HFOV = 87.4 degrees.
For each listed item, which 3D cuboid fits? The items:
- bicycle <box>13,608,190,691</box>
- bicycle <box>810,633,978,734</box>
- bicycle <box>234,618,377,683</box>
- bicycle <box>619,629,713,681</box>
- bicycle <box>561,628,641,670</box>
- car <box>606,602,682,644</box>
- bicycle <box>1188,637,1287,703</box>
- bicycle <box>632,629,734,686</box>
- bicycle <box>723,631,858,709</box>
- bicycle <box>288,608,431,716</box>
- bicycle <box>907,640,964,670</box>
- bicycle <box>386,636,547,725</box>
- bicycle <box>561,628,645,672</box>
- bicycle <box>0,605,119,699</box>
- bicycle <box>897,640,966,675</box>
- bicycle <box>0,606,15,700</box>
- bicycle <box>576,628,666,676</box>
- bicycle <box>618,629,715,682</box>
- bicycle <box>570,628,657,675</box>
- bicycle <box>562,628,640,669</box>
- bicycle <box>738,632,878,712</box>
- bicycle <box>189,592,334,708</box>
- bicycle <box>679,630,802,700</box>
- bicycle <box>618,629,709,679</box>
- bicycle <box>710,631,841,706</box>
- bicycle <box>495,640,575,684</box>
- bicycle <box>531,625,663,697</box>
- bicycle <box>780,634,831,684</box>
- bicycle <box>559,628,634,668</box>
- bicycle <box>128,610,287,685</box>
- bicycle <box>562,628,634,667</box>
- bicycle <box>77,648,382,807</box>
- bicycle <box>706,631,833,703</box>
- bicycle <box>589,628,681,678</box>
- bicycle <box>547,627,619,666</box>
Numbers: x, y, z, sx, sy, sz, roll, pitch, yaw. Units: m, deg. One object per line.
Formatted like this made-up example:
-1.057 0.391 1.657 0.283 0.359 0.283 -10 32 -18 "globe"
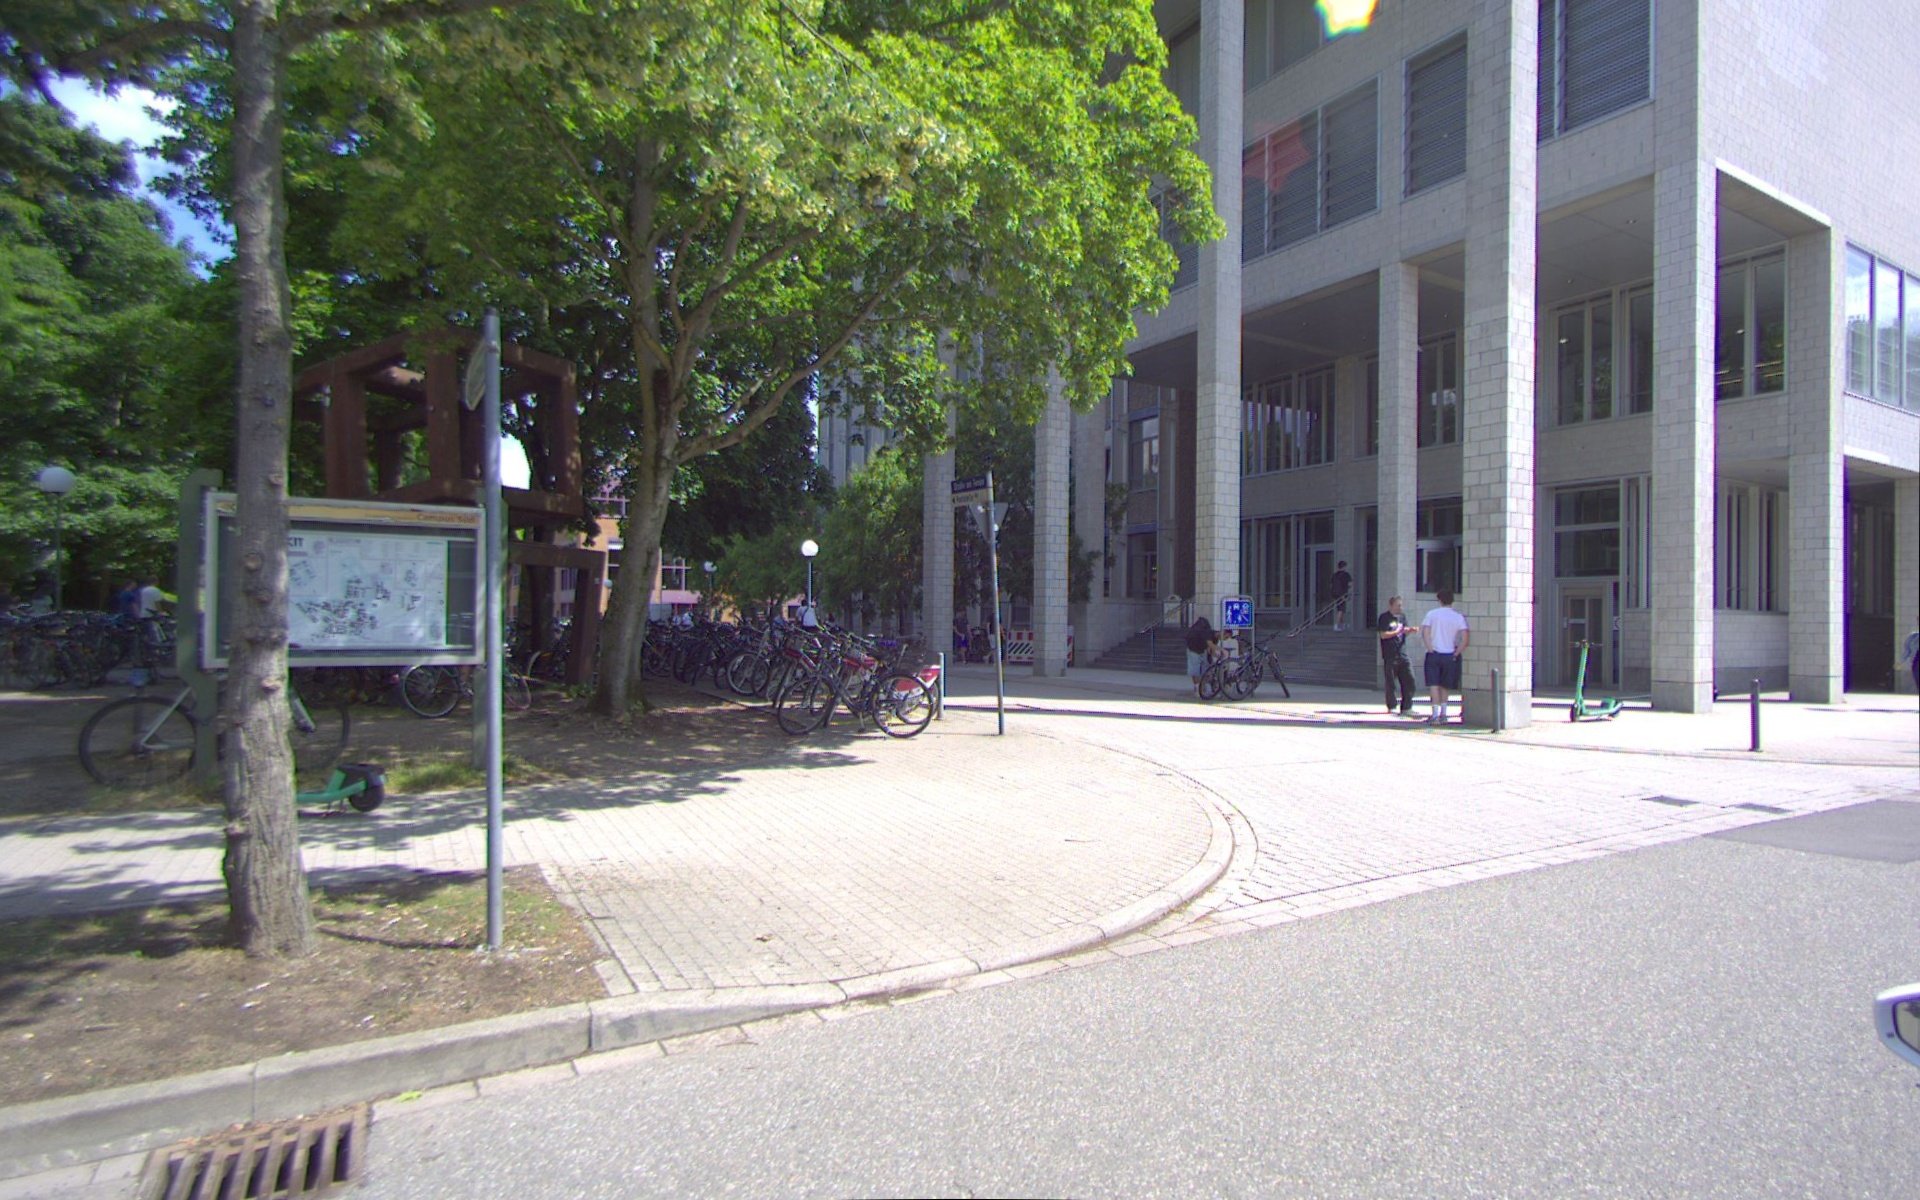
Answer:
-14.026 0.779 16.396 2.902 1.141 0.743 3 0 17 "bicycle"
-0.762 0.962 11.925 1.950 1.101 0.549 1 1 -31 "bicycle"
-13.104 0.987 20.107 2.853 1.171 0.743 1 0 17 "bicycle"
-6.626 1.226 22.655 1.950 1.101 0.549 1 1 -31 "bicycle"
-9.762 1.322 27.344 1.950 1.101 0.549 1 1 -31 "bicycle"
-21.766 1.577 69.225 4.584 2.813 1.980 1 -1 -36 "car"
4.857 1.206 17.527 1.840 1.028 0.463 -1 1 -27 "bicycle"
-5.696 1.174 20.720 1.950 1.101 0.549 1 1 -31 "bicycle"
-2.553 1.044 15.237 1.950 1.101 0.549 1 1 -31 "bicycle"
-7.515 0.750 12.554 1.984 1.270 0.586 -1 -1 28 "bicycle"
-0.697 1.552 28.590 1.667 0.820 0.375 1 -1 -32 "bicycle"
-5.846 0.924 11.964 1.644 0.978 0.471 2 -1 -42 "bicycle"
-9.180 1.278 25.870 1.950 1.101 0.549 1 1 -31 "bicycle"
-14.255 0.744 15.167 3.021 1.314 0.883 1 0 17 "bicycle"
-0.792 1.622 28.505 1.971 0.958 0.522 1 -1 -32 "bicycle"
-14.671 0.713 14.005 2.875 1.304 0.883 1 0 17 "bicycle"
-8.081 1.234 23.991 1.950 1.101 0.549 1 1 -31 "bicycle"
-6.418 1.206 22.011 1.950 1.101 0.549 1 1 -31 "bicycle"
-8.515 1.251 24.716 1.950 1.101 0.549 1 1 -31 "bicycle"
-9.996 1.342 27.985 1.950 1.101 0.549 1 1 -31 "bicycle"
-2.219 1.036 14.782 1.950 1.101 0.549 1 1 -31 "bicycle"
-9.450 0.638 13.564 2.248 1.469 0.606 0 -1 27 "bicycle"
-3.696 1.081 16.994 1.950 1.101 0.549 1 1 -31 "bicycle"
-6.861 1.245 23.273 1.950 1.101 0.549 1 1 -31 "bicycle"
-2.876 1.055 15.749 1.950 1.101 0.549 1 1 -31 "bicycle"
-8.026 1.158 19.012 0.317 0.773 1.559 1 0 26 "bicycle"
-5.511 0.913 15.312 1.828 1.046 0.473 1 -1 -30 "bicycle"
-4.188 1.549 27.008 0.871 1.215 2.738 1 -1 -19 "bicycle"
-10.432 1.364 28.841 1.950 1.101 0.549 1 1 -31 "bicycle"
-13.258 0.813 17.695 2.781 1.249 0.743 0 -1 17 "bicycle"
-10.695 1.393 29.701 1.950 1.101 0.549 1 1 -31 "bicycle"
-5.382 0.891 7.503 1.802 1.039 0.378 2 -1 -43 "bicycle"
-3.091 1.075 16.378 1.950 1.101 0.549 1 1 -31 "bicycle"
-7.591 1.230 23.506 1.950 1.101 0.549 1 1 -31 "bicycle"
-11.278 1.389 30.091 1.950 1.101 0.549 1 1 -31 "bicycle"
